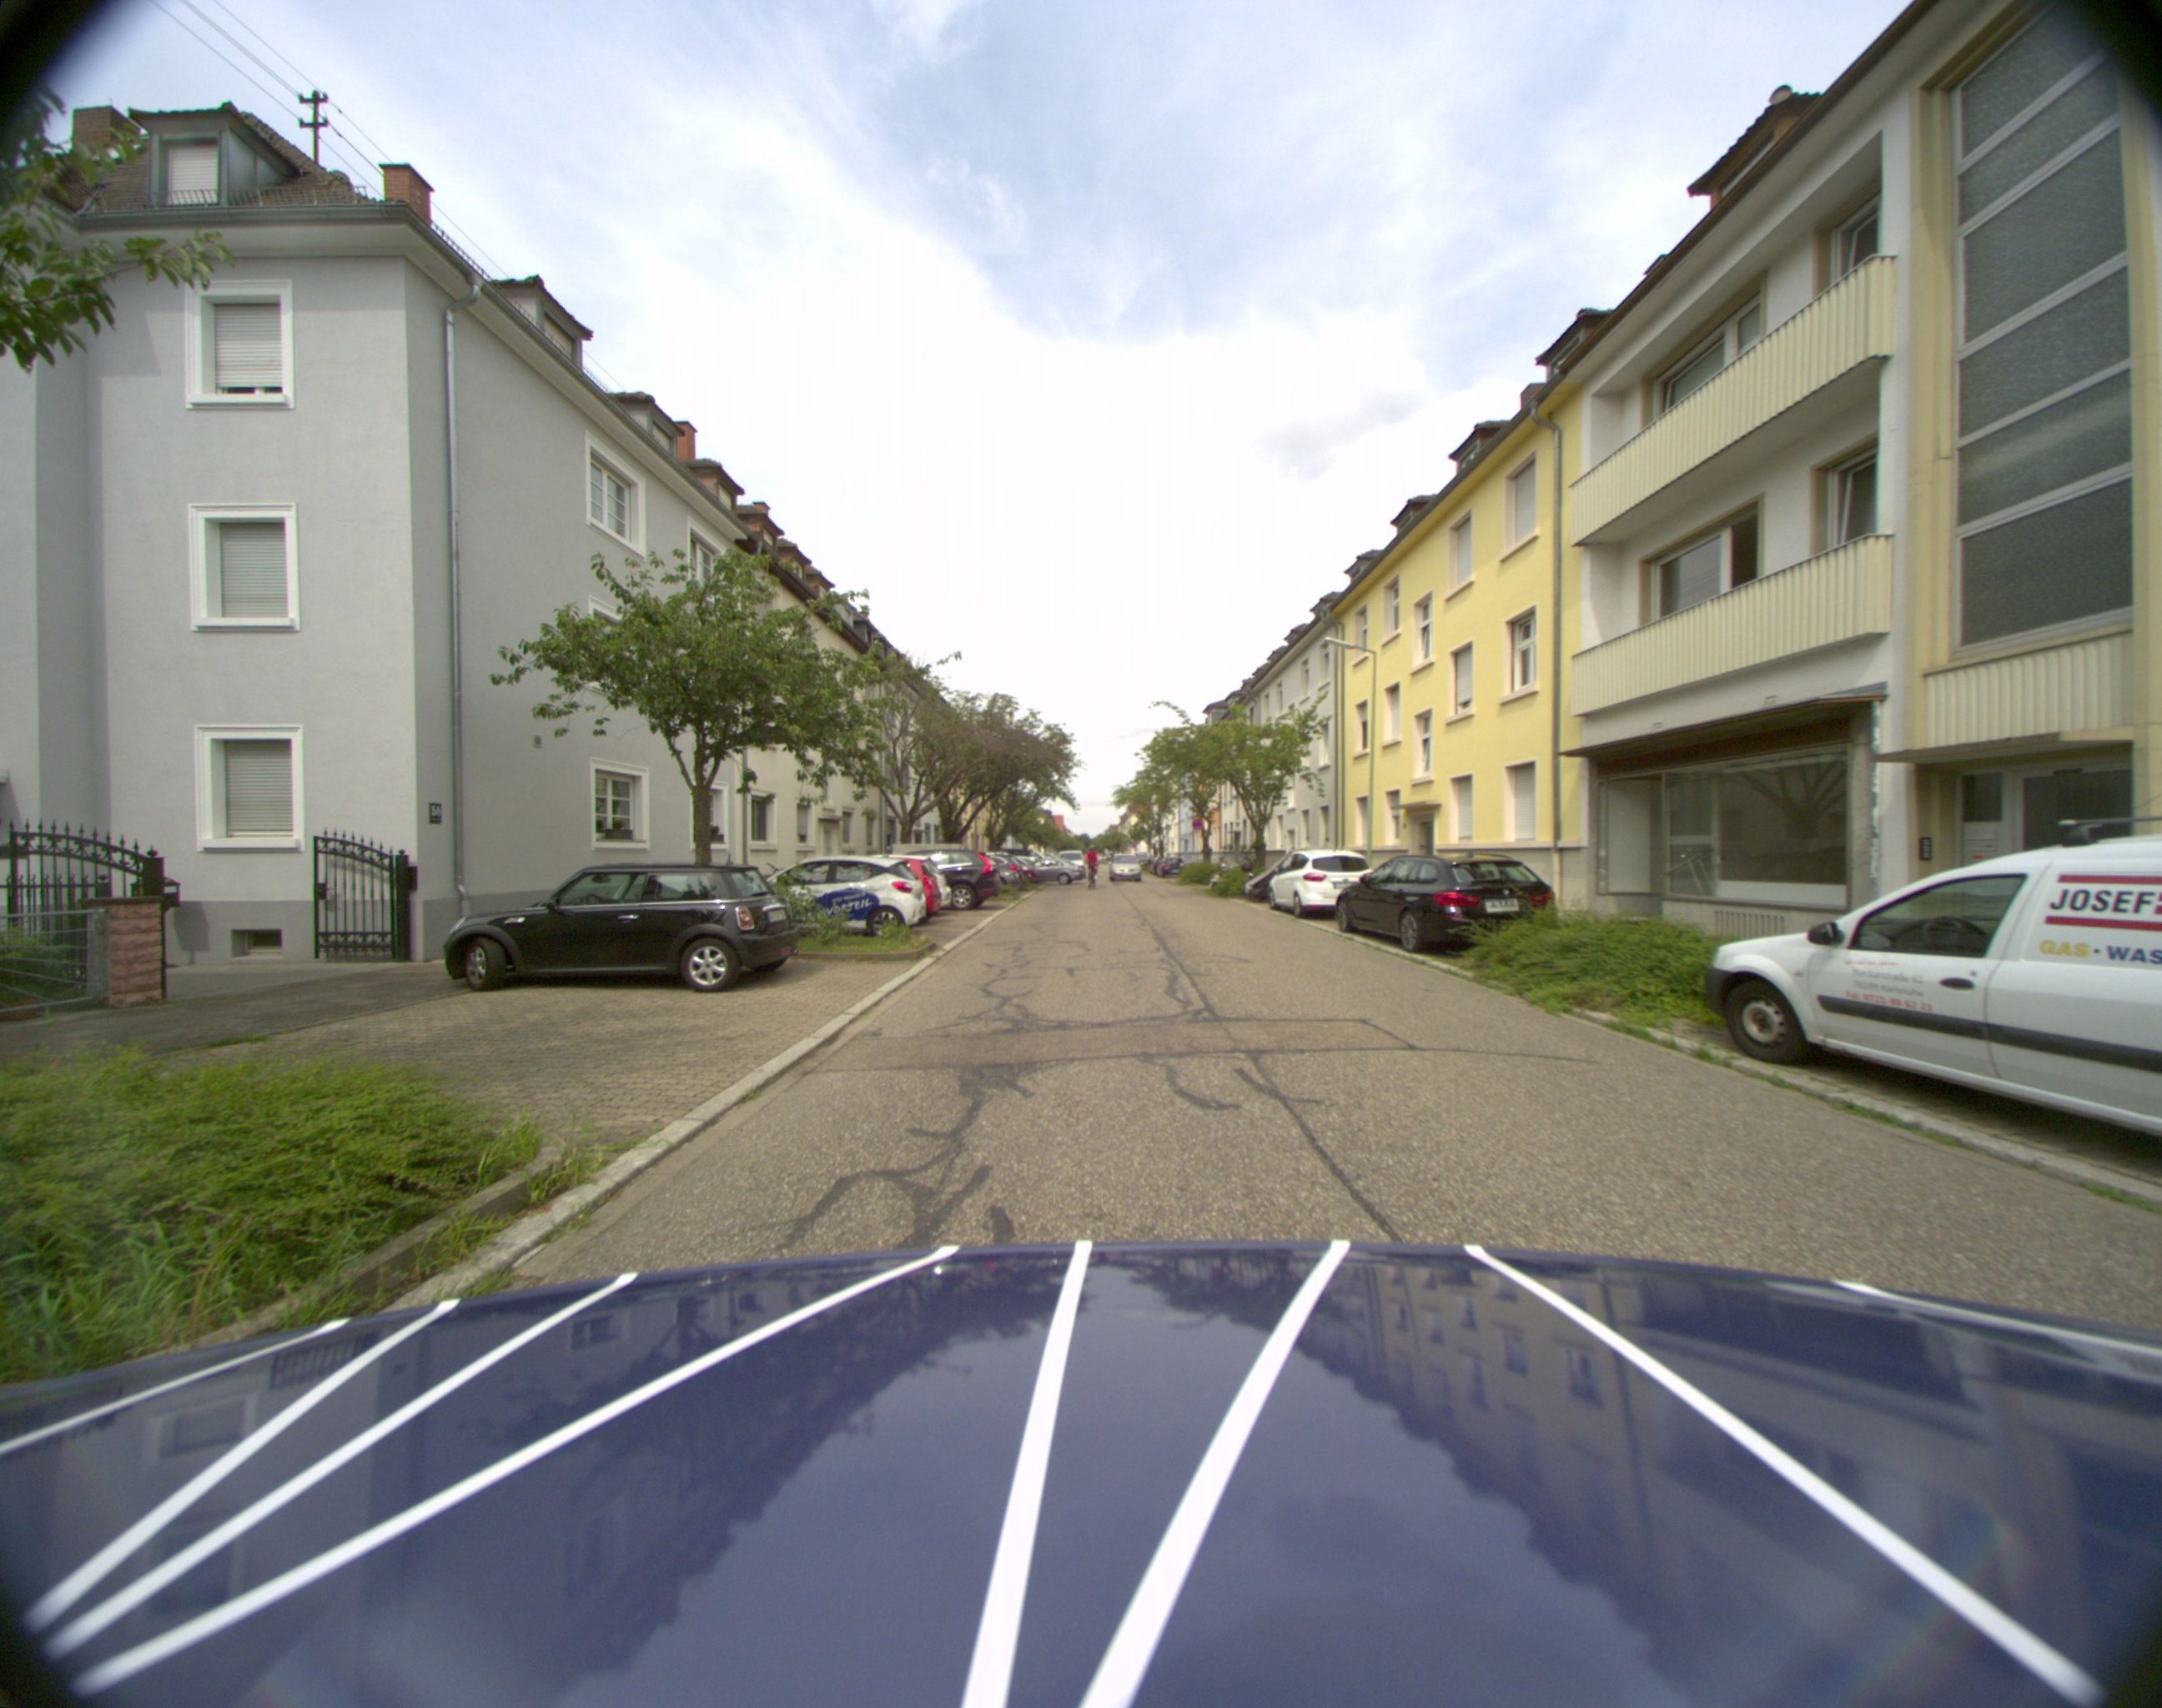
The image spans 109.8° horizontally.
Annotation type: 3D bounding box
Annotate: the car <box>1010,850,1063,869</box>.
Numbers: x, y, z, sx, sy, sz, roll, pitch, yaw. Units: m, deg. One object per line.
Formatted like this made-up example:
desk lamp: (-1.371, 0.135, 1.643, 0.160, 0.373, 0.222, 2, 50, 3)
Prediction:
car: (-3.913, 0.476, 67.283, 4.559, 1.501, 1.850, 2, 1, -1)

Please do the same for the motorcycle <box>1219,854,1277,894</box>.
motorcycle: (6.402, 0.781, 29.148, 2.242, 1.473, 0.595, 1, 1, -26)

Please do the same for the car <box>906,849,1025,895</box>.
car: (-4.327, 0.669, 28.927, 4.226, 1.588, 1.903, 2, 1, -1)

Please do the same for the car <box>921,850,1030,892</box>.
car: (-4.312, 0.672, 31.491, 4.226, 1.588, 1.903, 2, 1, -1)

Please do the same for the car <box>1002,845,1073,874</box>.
car: (-3.302, 0.416, 58.060, 5.244, 2.011, 2.072, 2, 1, -3)

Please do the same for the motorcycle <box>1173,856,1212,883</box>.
motorcycle: (6.019, 0.829, 40.987, 2.022, 1.399, 0.790, 1, 1, -36)

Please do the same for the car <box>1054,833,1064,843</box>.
car: (-4.000, -2.929, 136.607, 1.646, 1.666, 3.443, -1, 0, 0)

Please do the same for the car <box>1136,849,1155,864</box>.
car: (7.196, 0.236, 85.294, 1.697, 1.573, 4.248, -1, 1, -1)

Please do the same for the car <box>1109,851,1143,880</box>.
car: (2.612, 0.647, 45.063, 1.788, 1.595, 4.835, 0, 0, 0)

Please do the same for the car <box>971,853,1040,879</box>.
car: (-4.542, 0.696, 46.188, 3.997, 1.412, 1.638, 2, 1, 0)

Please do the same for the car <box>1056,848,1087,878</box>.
car: (-0.678, 0.581, 52.454, 1.999, 1.904, 4.703, -2, 1, -1)

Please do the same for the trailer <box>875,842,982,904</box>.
trailer: (-4.747, 0.567, 23.839, 2.967, 1.821, 1.401, 2, 1, 4)

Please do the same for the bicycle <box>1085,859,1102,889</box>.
bicycle: (0.529, 0.824, 32.739, 0.693, 1.220, 1.937, -1, 1, 1)

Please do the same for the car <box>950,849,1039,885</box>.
car: (-4.360, 0.631, 38.920, 4.224, 1.668, 1.904, 2, 1, 3)

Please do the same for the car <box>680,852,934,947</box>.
car: (-4.863, 0.790, 13.928, 3.998, 1.521, 1.767, 2, 1, -2)

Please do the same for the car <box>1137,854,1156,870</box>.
car: (6.728, 0.778, 78.792, 1.706, 1.533, 4.249, 1, 0, 2)

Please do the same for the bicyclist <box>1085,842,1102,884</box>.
bicyclist: (0.530, 0.370, 32.743, 0.694, 1.760, 0.986, -1, 1, 1)

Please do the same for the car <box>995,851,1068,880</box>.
car: (-2.777, 0.637, 43.487, 3.997, 1.527, 1.638, 2, 1, 0)

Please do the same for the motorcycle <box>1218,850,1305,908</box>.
motorcycle: (5.432, 0.708, 22.990, 0.941, 1.666, 2.467, 0, 0, -42)

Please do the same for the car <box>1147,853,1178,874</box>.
car: (6.308, 0.692, 59.238, 1.841, 1.475, 4.092, -2, 1, -1)

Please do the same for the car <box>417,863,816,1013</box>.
car: (-5.220, 0.899, 8.921, 3.552, 1.444, 1.809, 2, 1, 0)

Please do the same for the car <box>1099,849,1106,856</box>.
car: (6.439, -0.372, 227.264, 1.757, 2.098, 3.621, 2, 1, 1)

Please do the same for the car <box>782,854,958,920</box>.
car: (-5.116, 0.778, 18.791, 3.756, 1.433, 1.865, 2, 1, 2)

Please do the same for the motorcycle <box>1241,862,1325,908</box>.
motorcycle: (6.358, 0.957, 23.988, 2.450, 1.303, 0.644, 2, 1, 23)

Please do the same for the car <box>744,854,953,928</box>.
car: (-4.957, 0.766, 16.610, 3.998, 1.402, 1.767, 2, 1, -2)

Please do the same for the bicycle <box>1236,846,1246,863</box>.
bicycle: (9.012, 0.037, 42.875, 0.310, 0.961, 1.434, 2, 1, 2)

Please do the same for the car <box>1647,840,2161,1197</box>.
car: (5.767, 0.746, 4.268, 1.923, 1.572, 4.382, 2, 1, 1)

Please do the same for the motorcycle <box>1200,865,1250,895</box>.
motorcycle: (5.740, 1.037, 30.257, 1.915, 1.185, 0.595, 1, 1, -26)

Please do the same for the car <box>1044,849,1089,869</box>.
car: (-1.498, 0.514, 81.498, 4.750, 1.899, 1.850, 2, 1, 1)

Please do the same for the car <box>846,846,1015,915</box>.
car: (-4.099, 0.691, 21.191, 4.224, 1.726, 1.904, 2, 1, 3)

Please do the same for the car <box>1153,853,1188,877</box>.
car: (6.172, 0.764, 53.022, 1.841, 1.475, 4.120, -3, 1, -1)

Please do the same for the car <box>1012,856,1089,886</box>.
car: (-1.609, 0.909, 40.822, 3.997, 1.446, 1.766, 2, 1, 0)

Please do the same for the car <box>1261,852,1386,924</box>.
car: (5.821, 0.744, 18.776, 1.761, 1.547, 4.255, 0, 1, 1)

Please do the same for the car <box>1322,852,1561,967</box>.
car: (5.655, 0.747, 12.705, 1.795, 1.483, 4.811, -1, 1, 1)
